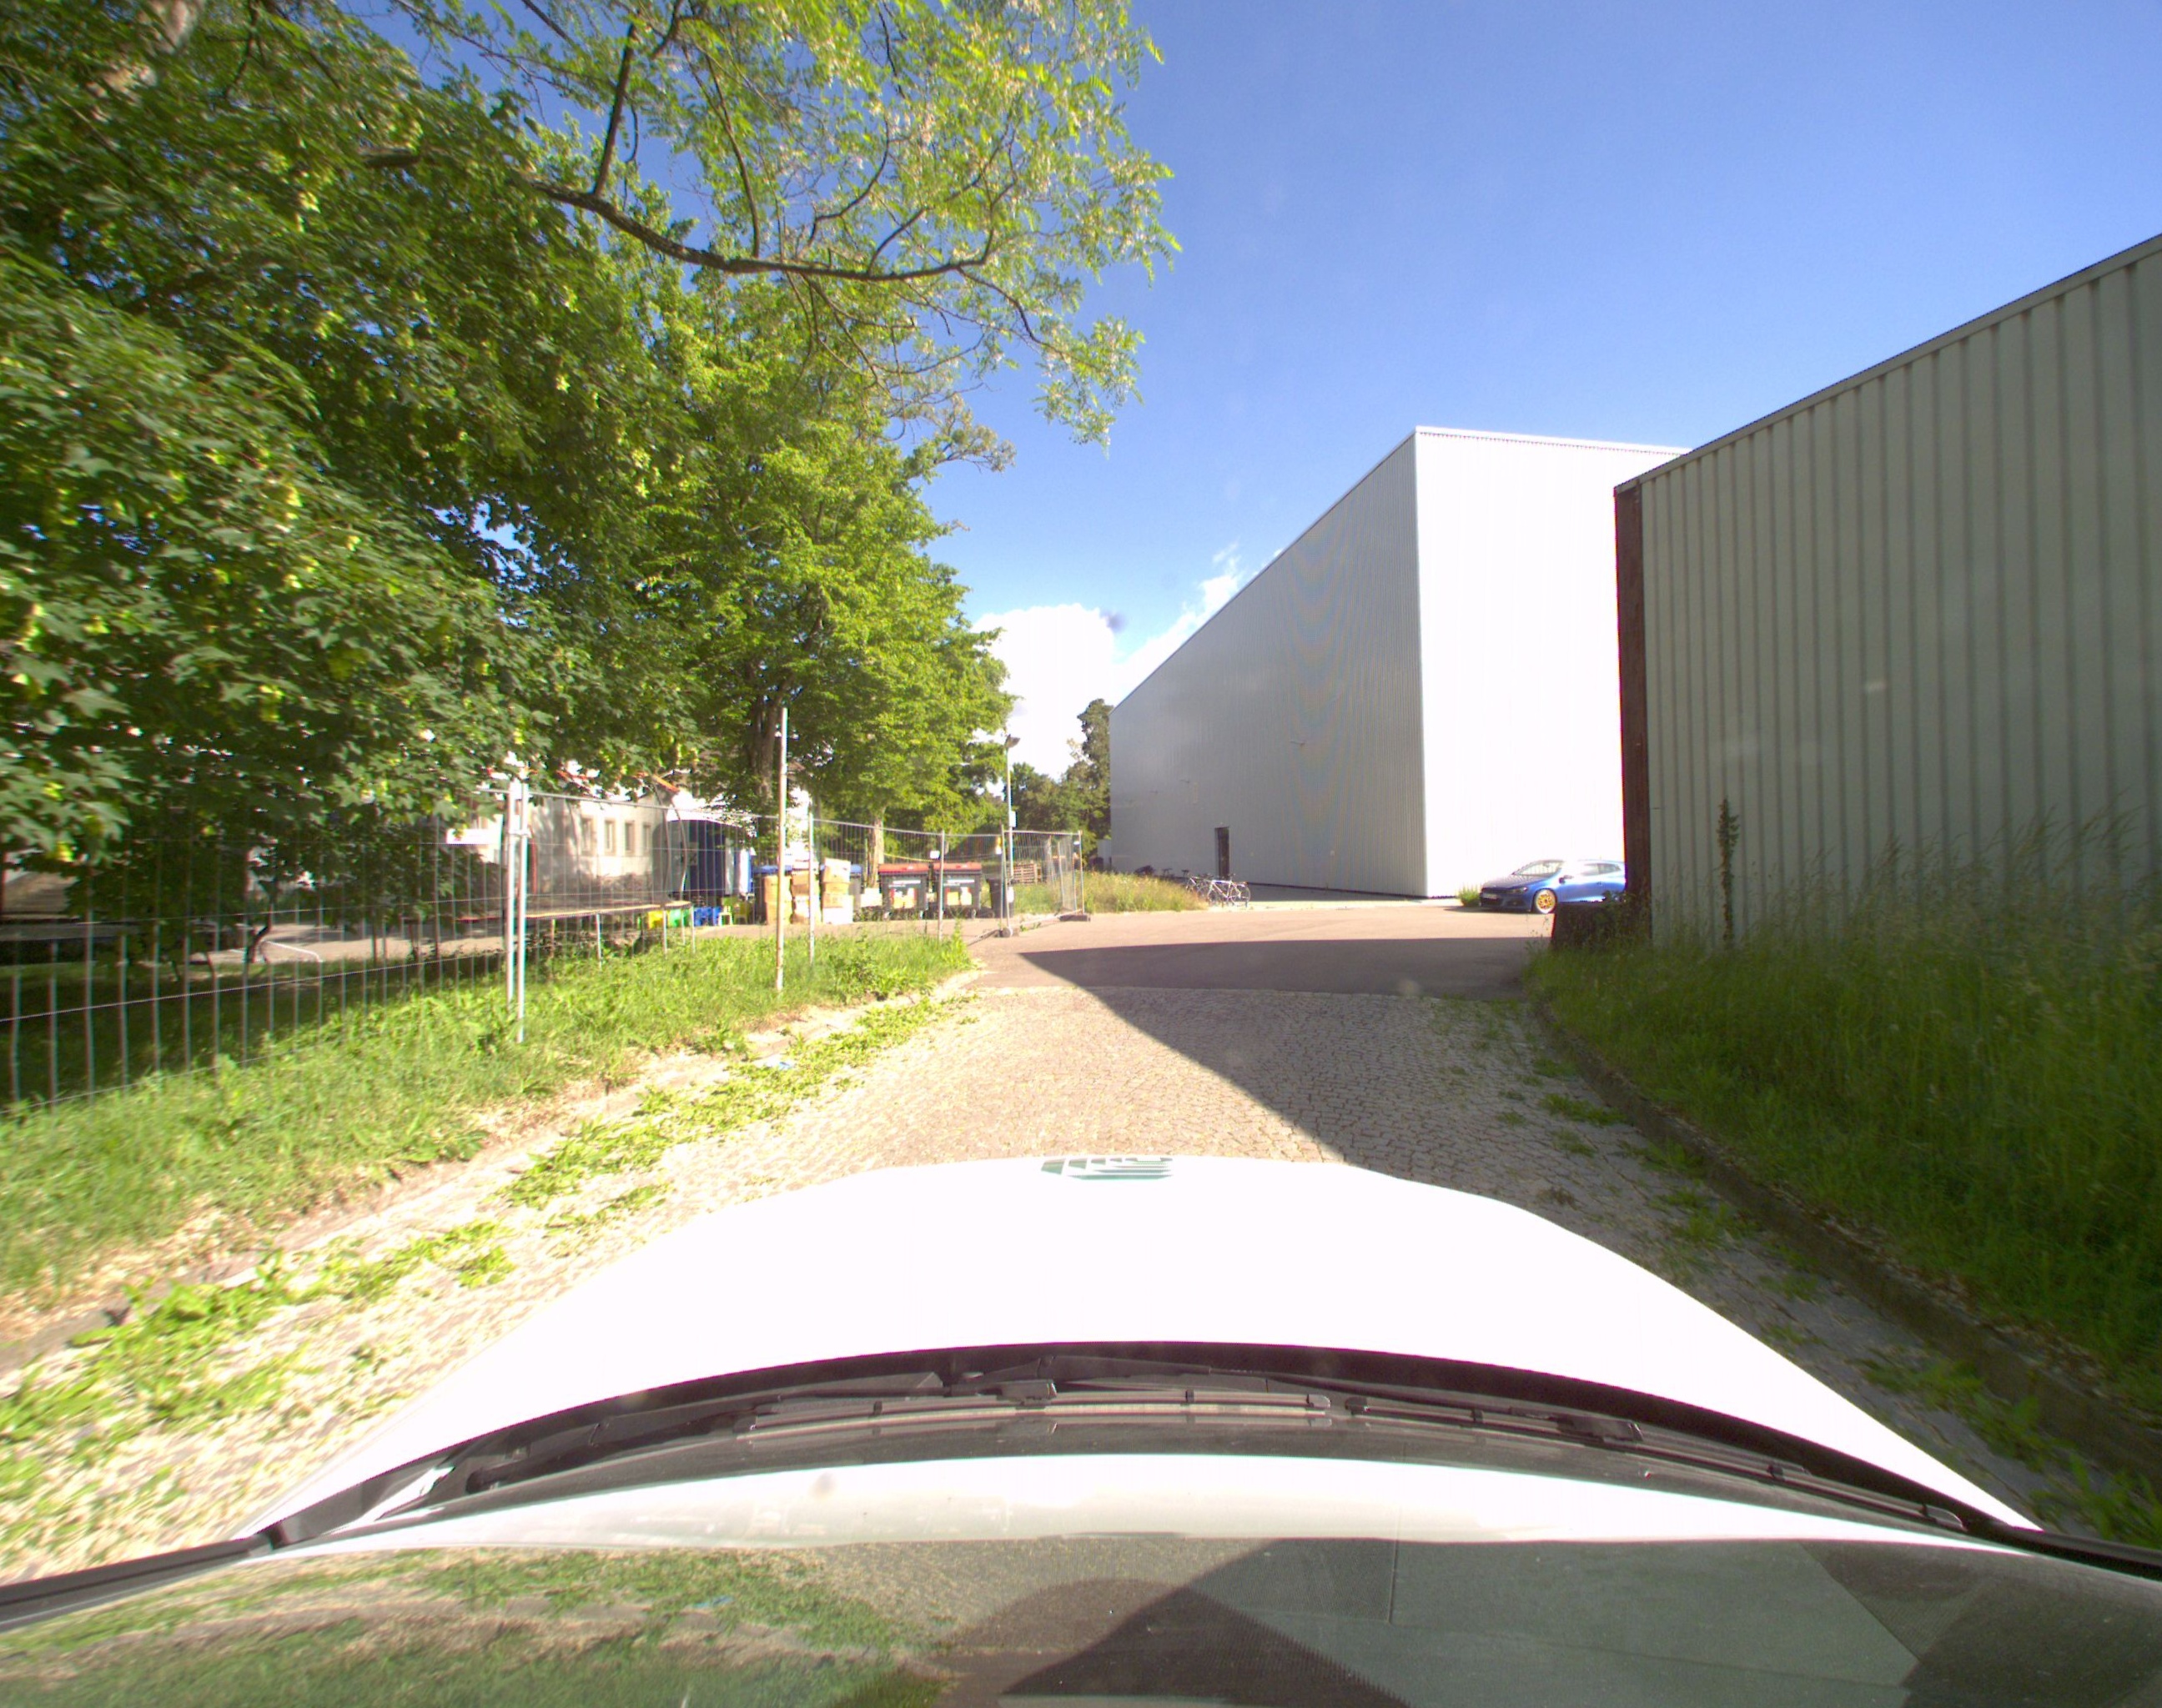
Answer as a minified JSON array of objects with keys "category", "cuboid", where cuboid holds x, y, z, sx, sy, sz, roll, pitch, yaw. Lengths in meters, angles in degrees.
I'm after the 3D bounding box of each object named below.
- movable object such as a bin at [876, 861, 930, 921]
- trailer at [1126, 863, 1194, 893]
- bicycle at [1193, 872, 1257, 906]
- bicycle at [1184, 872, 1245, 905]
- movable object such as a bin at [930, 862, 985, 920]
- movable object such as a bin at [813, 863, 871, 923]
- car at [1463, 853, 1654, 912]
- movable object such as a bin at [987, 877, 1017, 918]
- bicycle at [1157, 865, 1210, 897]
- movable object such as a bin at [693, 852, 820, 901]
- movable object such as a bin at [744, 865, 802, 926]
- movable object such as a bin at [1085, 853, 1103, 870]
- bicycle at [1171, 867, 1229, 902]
[{"category":"movable object such as a bin","cuboid":[-4.526,0.923,20.759,1.288,1.426,1.028,-1,-1,-13]},{"category":"trailer","cuboid":[3.422,1.021,35.606,2.711,1.200,1.241,-2,-1,-11]},{"category":"bicycle","cuboid":[4.433,1.069,25.050,1.884,0.978,0.432,-2,-1,-11]},{"category":"bicycle","cuboid":[4.288,1.108,26.246,1.884,0.978,0.432,-2,-1,-11]},{"category":"movable object such as a bin","cuboid":[-3.213,0.937,21.070,1.289,1.426,1.027,-1,-1,-14]},{"category":"movable object such as a bin","cuboid":[-5.993,0.952,20.489,1.288,1.426,1.028,-1,-1,-13]},{"category":"car","cuboid":[12.249,0.684,20.990,4.157,1.384,1.748,-1,0,-11]},{"category":"movable object such as a bin","cuboid":[-2.040,1.119,21.124,0.638,1.007,0.606,-2,-1,5]},{"category":"bicycle","cuboid":[3.800,0.995,30.140,1.884,1.126,0.432,-2,-1,-11]},{"category":"movable object such as a bin","cuboid":[-14.251,0.976,36.050,4.875,1.970,1.924,-2,-1,-13]},{"category":"movable object such as a bin","cuboid":[-7.590,1.007,20.108,1.083,1.438,1.053,-1,-1,-8]},{"category":"movable object such as a bin","cuboid":[1.309,0.788,81.475,1.362,1.656,2.835,-2,-1,-7]},{"category":"bicycle","cuboid":[4.040,1.023,27.577,1.884,1.082,0.432,-2,-1,-11]}]
